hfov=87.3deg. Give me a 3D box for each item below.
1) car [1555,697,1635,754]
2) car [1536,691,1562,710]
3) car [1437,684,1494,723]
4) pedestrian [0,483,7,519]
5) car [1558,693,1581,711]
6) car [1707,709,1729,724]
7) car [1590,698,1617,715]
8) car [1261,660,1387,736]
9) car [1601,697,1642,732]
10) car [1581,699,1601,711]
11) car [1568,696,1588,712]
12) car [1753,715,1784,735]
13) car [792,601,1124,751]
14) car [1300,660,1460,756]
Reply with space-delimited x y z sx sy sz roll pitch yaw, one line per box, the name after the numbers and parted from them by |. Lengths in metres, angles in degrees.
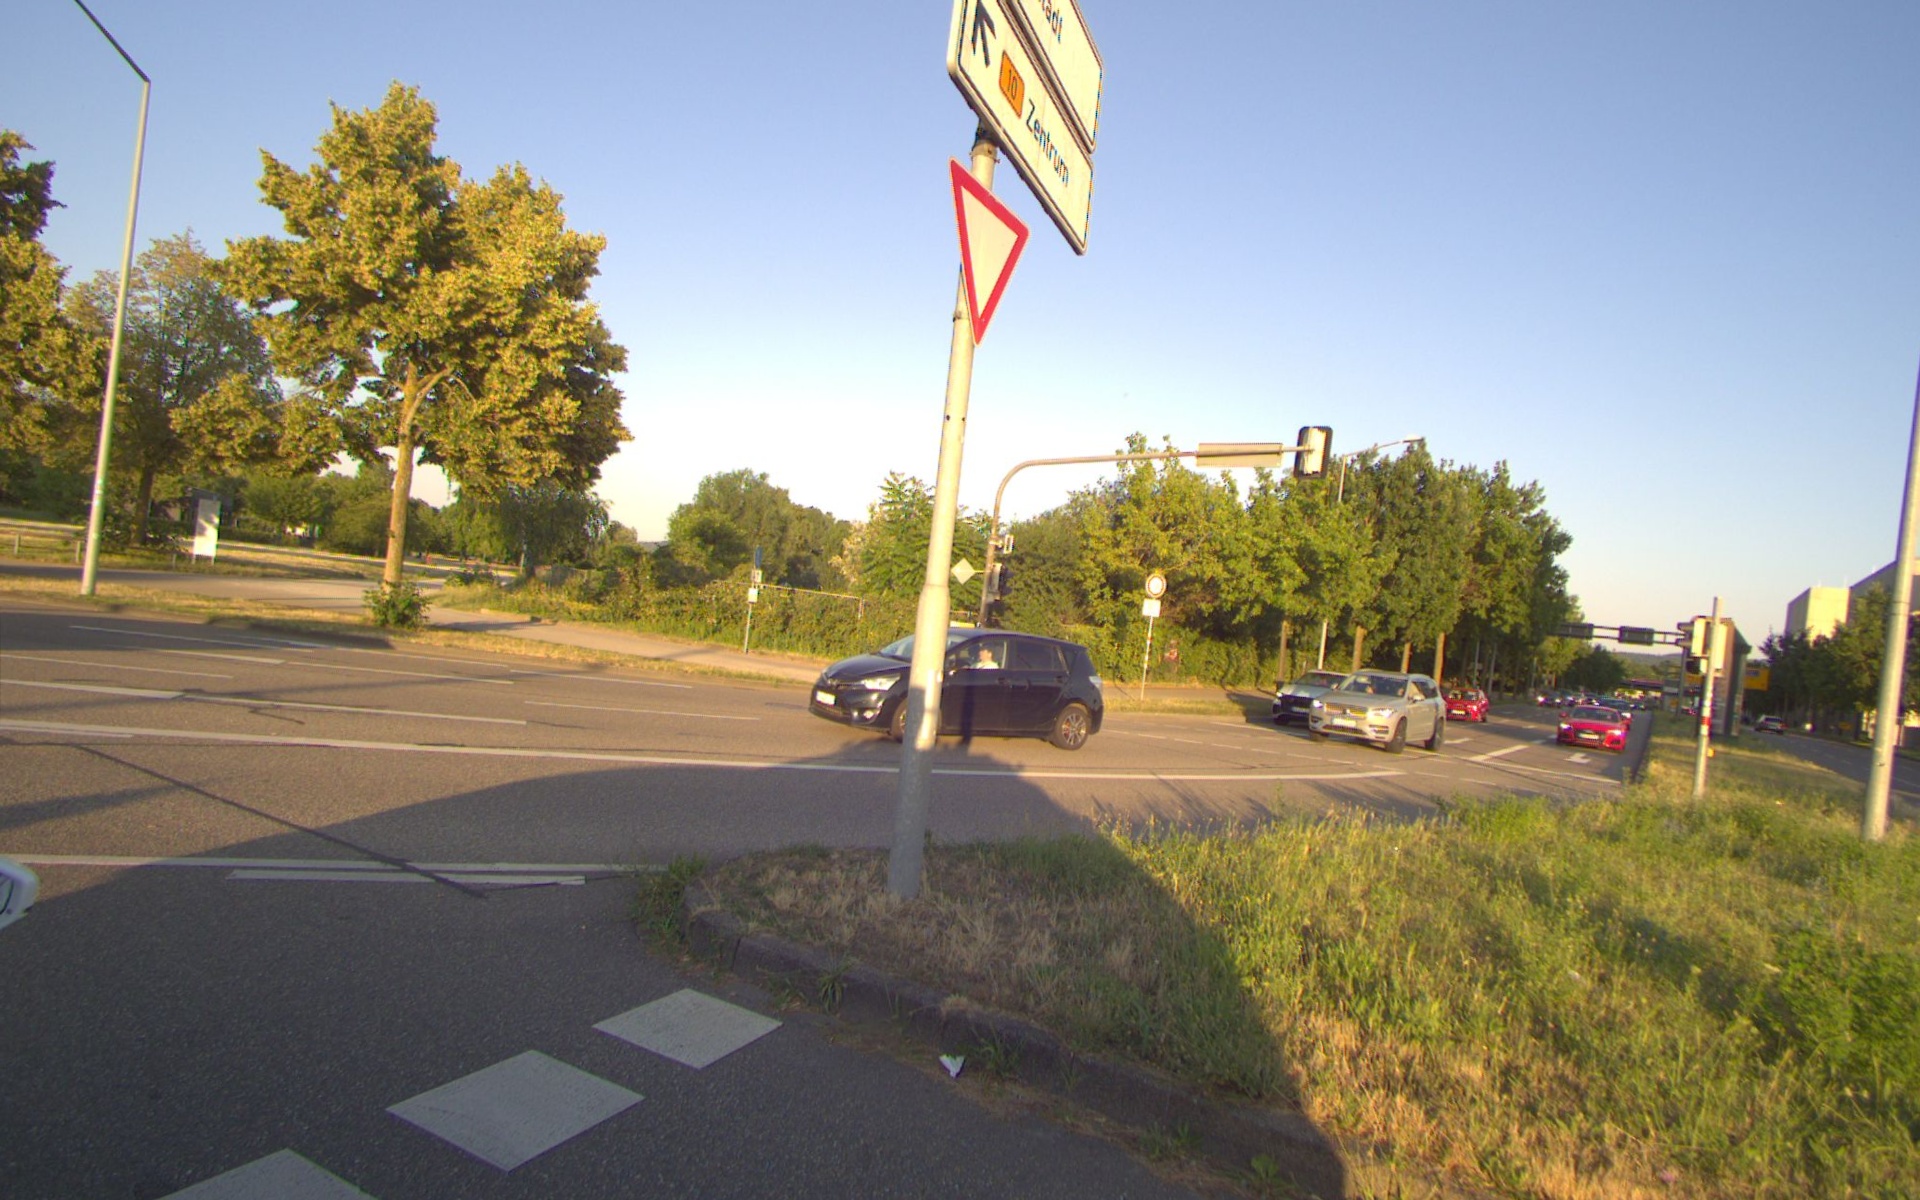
21.144 4.158 33.406 1.817 1.477 4.568 7 -1 36 | car
50.920 8.695 86.943 1.594 1.324 3.707 5 -2 35 | car
22.990 4.717 45.715 1.700 1.500 3.623 5 -2 36 | car
-45.156 -4.659 46.996 0.520 1.646 0.620 7 0 2 | pedestrian
59.890 10.019 98.761 1.594 1.536 3.706 5 -2 35 | car
93.916 14.441 124.674 1.790 1.543 4.123 7 0 35 | car
60.298 10.007 94.220 1.847 1.324 4.128 5 -2 35 | car
10.454 2.815 28.641 1.884 1.730 4.927 7 -1 36 | car
36.232 6.258 55.087 1.695 1.631 4.127 5 -2 34 | car
80.810 13.478 128.759 1.847 1.324 4.128 5 -2 35 | car
69.144 11.621 112.549 1.594 1.536 3.706 5 -2 35 | car
69.546 10.738 86.511 1.727 1.441 4.114 7 0 42 | car
0.054 1.123 14.409 4.416 1.652 1.787 8 -2 -35 | car
9.738 2.495 23.096 1.896 1.775 4.902 5 -2 40 | car
